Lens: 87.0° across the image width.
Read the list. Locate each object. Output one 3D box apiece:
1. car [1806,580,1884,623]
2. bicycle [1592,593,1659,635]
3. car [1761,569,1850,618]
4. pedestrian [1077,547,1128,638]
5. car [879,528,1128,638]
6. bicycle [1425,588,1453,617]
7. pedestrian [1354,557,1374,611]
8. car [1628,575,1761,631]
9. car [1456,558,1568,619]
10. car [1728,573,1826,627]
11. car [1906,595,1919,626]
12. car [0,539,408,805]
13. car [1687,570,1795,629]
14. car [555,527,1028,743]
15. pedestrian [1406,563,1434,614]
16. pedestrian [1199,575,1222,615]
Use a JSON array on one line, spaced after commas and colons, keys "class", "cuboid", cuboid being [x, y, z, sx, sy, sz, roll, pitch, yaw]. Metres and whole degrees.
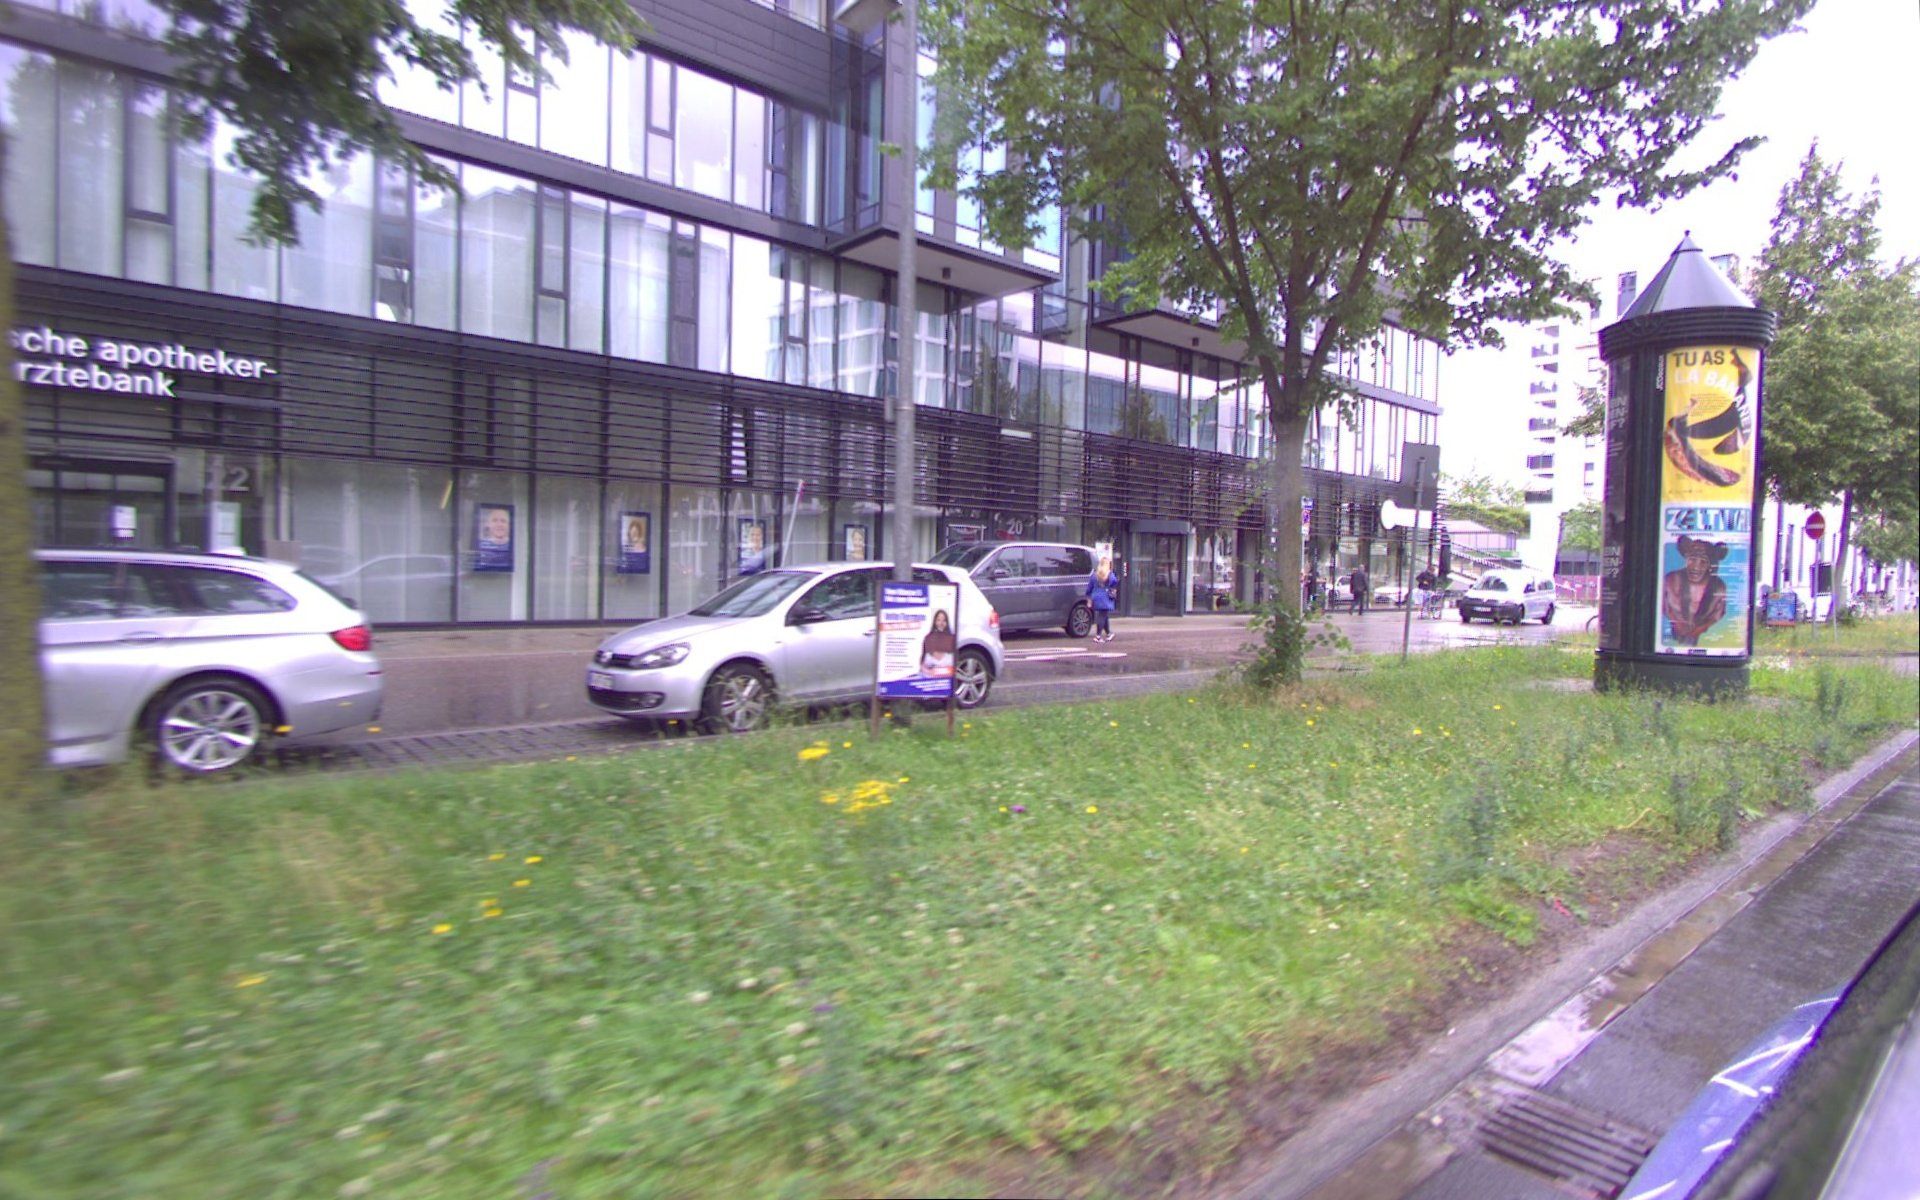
[{"class": "car", "cuboid": [40.132, 0.093, 45.856, 4.753, 1.729, 1.997, 2, 0, -41]}, {"class": "bicycle", "cuboid": [15.687, 0.310, 23.874, 0.424, 0.928, 1.464, 3, 0, -8]}, {"class": "car", "cuboid": [33.948, -0.252, 40.577, 4.753, 1.729, 1.997, 2, 0, -41]}, {"class": "pedestrian", "cuboid": [2.808, -0.147, 19.964, 0.789, 1.761, 0.581, 3, -1, -42]}, {"class": "car", "cuboid": [0.988, -0.353, 20.252, 5.062, 1.944, 1.996, -1, 2, -43]}, {"class": "bicycle", "cuboid": [16.202, 0.086, 34.251, 1.211, 0.908, 0.437, 2, 0, -45]}, {"class": "pedestrian", "cuboid": [14.200, -0.554, 35.610, 0.500, 1.855, 0.574, 3, 0, 14]}, {"class": "car", "cuboid": [21.398, 0.059, 29.419, 4.871, 1.473, 1.998, 0, 2, -40]}, {"class": "car", "cuboid": [18.527, -0.372, 33.867, 4.644, 1.889, 1.896, 0, 2, -43]}, {"class": "car", "cuboid": [29.870, 0.020, 36.961, 4.640, 1.729, 1.997, 2, 0, -41]}, {"class": "car", "cuboid": [56.979, 0.665, 59.155, 4.753, 1.729, 1.997, 2, 0, -41]}, {"class": "car", "cuboid": [-6.330, 0.368, 5.902, 5.149, 1.462, 1.996, -1, 2, -43]}, {"class": "car", "cuboid": [25.562, 0.006, 33.067, 4.143, 1.729, 1.997, 2, 0, -41]}, {"class": "car", "cuboid": [-1.447, 0.293, 9.548, 4.027, 1.616, 1.765, 2, 0, -40]}, {"class": "pedestrian", "cuboid": [15.735, -0.397, 34.589, 0.626, 1.727, 0.646, 3, 0, 45]}, {"class": "pedestrian", "cuboid": [8.066, -0.178, 32.579, 0.571, 1.252, 0.449, 3, 0, 2]}]
